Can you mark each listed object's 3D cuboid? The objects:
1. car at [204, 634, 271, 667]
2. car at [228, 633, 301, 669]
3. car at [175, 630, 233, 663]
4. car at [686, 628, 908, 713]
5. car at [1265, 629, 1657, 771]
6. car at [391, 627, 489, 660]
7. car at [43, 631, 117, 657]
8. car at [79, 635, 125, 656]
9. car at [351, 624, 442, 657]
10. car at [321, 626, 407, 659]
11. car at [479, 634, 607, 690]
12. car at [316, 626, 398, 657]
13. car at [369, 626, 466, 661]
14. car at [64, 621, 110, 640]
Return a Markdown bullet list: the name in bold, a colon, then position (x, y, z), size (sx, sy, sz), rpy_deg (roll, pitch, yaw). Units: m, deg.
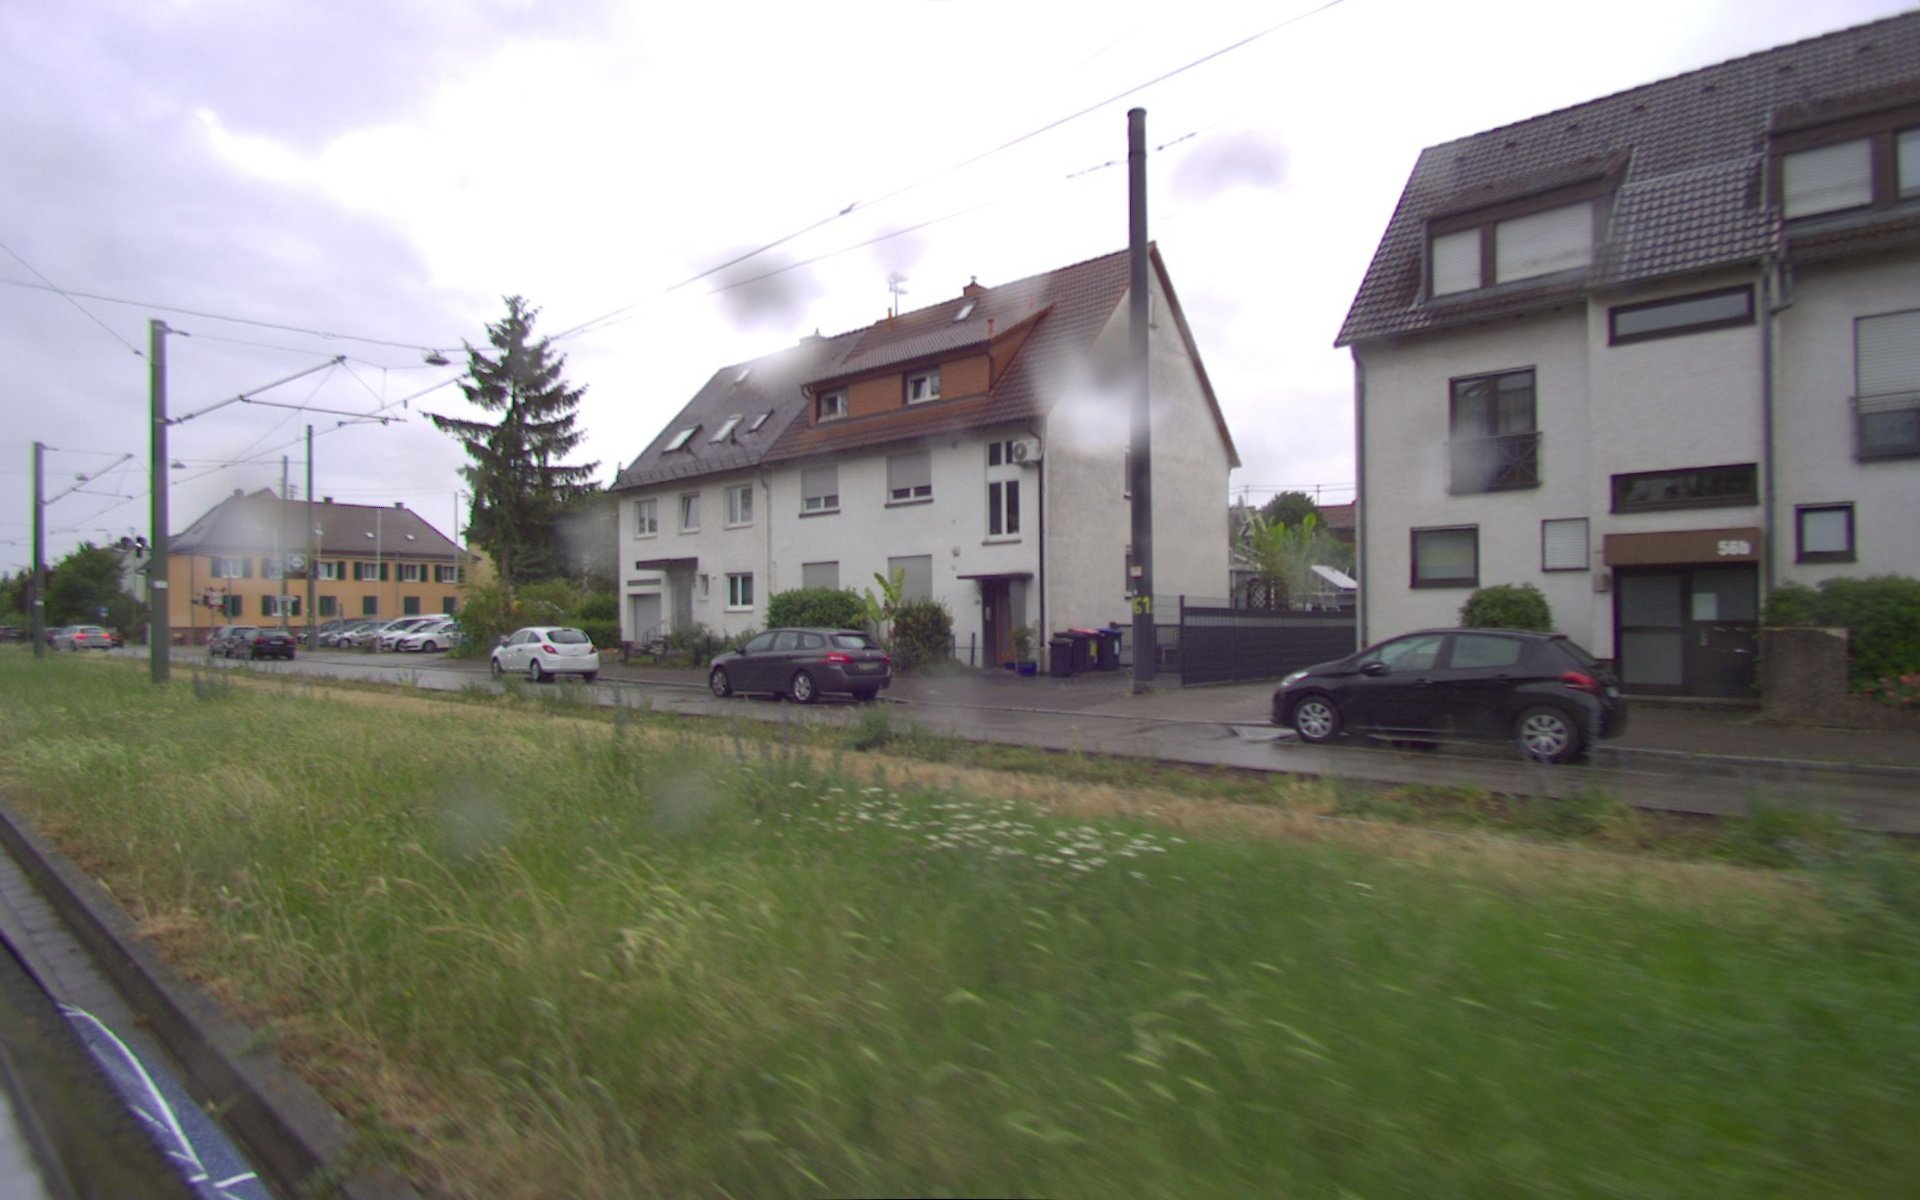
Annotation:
- **car**: position (-35.659, 2.453, 49.915), size (3.999, 1.541, 1.857), rpy_deg (-2, -2, 42)
- **car**: position (-32.184, 2.318, 46.782), size (3.999, 1.602, 1.887), rpy_deg (-2, -2, 42)
- **car**: position (-41.986, 2.535, 56.202), size (4.001, 1.670, 1.971), rpy_deg (-1, -1, 44)
- **car**: position (-3.419, 1.359, 20.633), size (4.754, 1.543, 1.867), rpy_deg (-2, -3, 41)
- **car**: position (5.941, 1.086, 12.270), size (3.936, 1.437, 1.754), rpy_deg (-2, -3, 42)
- **car**: position (-25.802, 2.132, 50.262), size (1.914, 1.475, 3.943), rpy_deg (-2, -1, 43)
- **car**: position (-50.259, 2.493, 57.802), size (4.266, 1.442, 2.084), rpy_deg (-1, -2, 33)
- **car**: position (-60.720, 3.184, 71.586), size (4.075, 1.442, 1.861), rpy_deg (-2, -2, 41)
- **car**: position (-29.940, 2.123, 53.831), size (3.937, 1.607, 1.916), rpy_deg (-1, -1, -41)
- **car**: position (-32.725, 2.313, 55.628), size (3.934, 1.607, 1.918), rpy_deg (-1, -1, -35)
- **car**: position (-11.656, 1.684, 28.185), size (3.998, 1.451, 1.693), rpy_deg (-2, -3, 41)
- **car**: position (-34.234, 2.342, 57.622), size (3.931, 1.607, 1.919), rpy_deg (-1, -1, -29)
- **car**: position (-27.740, 2.197, 51.813), size (1.914, 1.607, 3.943), rpy_deg (-2, -1, 43)
- **car**: position (-67.030, 2.354, 77.662), size (4.075, 1.442, 2.069), rpy_deg (-2, -2, 41)
